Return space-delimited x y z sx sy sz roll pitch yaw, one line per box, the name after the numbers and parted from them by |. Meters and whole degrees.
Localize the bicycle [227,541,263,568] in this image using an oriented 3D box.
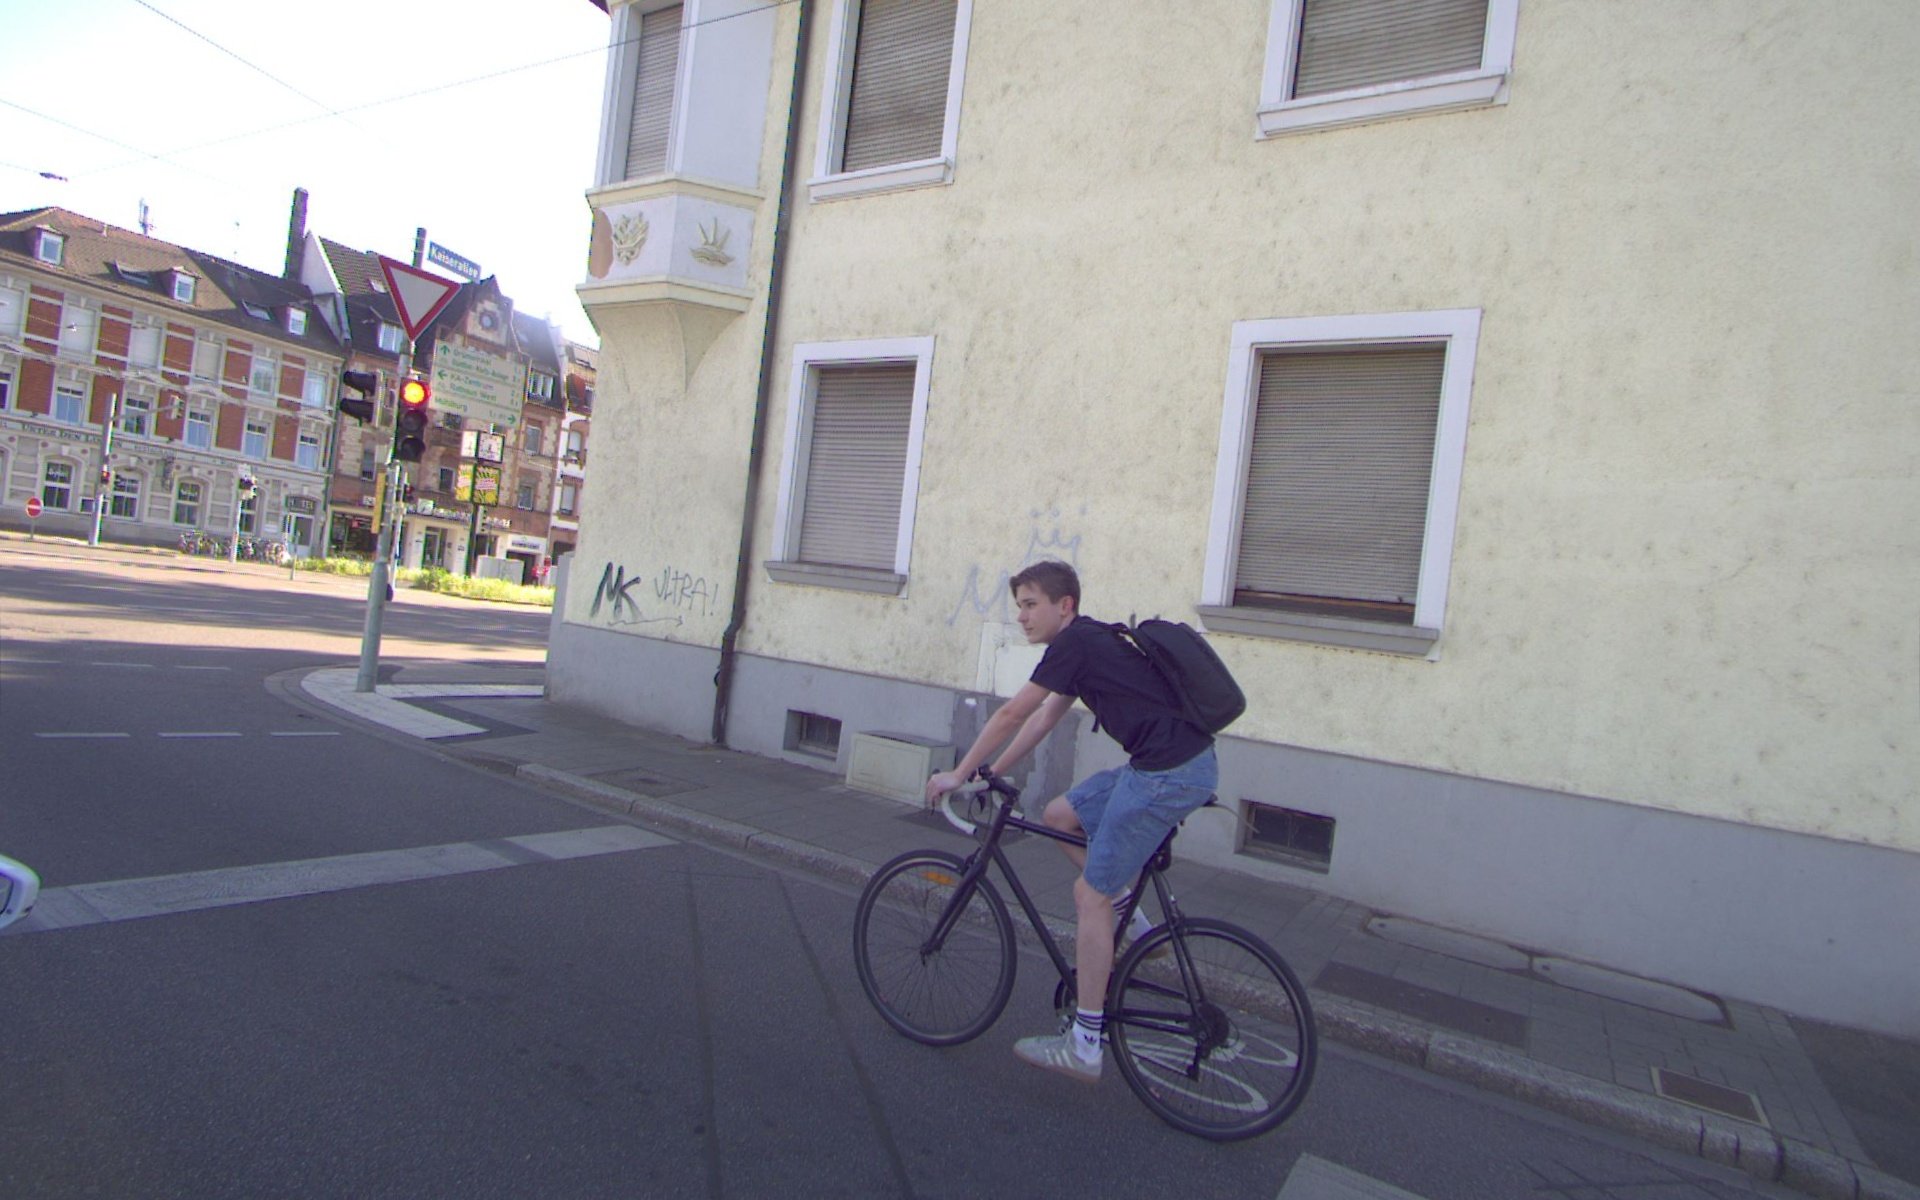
-33.649 -2.148 47.335 1.614 1.064 0.606 7 0 27 | bicycle

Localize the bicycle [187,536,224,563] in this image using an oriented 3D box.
-34.645 -2.326 46.189 1.614 1.064 0.606 7 0 27 | bicycle

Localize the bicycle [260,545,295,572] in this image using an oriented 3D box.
-32.980 -2.010 48.583 1.614 1.064 0.606 7 0 27 | bicycle

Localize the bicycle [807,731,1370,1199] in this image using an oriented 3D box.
0.370 1.106 3.416 1.729 1.029 0.532 7 0 32 | bicycle

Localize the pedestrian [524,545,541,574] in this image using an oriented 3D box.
-27.256 -2.575 64.082 0.414 1.773 0.709 7 0 33 | pedestrian

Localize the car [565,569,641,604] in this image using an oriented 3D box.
-23.122 -0.858 65.303 1.966 1.674 4.378 7 -1 29 | car

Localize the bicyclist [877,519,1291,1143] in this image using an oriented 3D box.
0.416 0.666 3.414 1.066 1.751 0.561 6 -1 32 | bicyclist

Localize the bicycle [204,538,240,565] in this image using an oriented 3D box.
-34.315 -2.259 46.765 1.614 1.064 0.606 7 0 27 | bicycle

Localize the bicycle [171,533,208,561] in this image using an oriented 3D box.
-34.945 -2.389 45.607 1.614 1.064 0.606 7 0 27 | bicycle

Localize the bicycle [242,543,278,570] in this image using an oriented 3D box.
-33.355 -2.085 47.945 1.614 1.064 0.606 7 0 27 | bicycle
